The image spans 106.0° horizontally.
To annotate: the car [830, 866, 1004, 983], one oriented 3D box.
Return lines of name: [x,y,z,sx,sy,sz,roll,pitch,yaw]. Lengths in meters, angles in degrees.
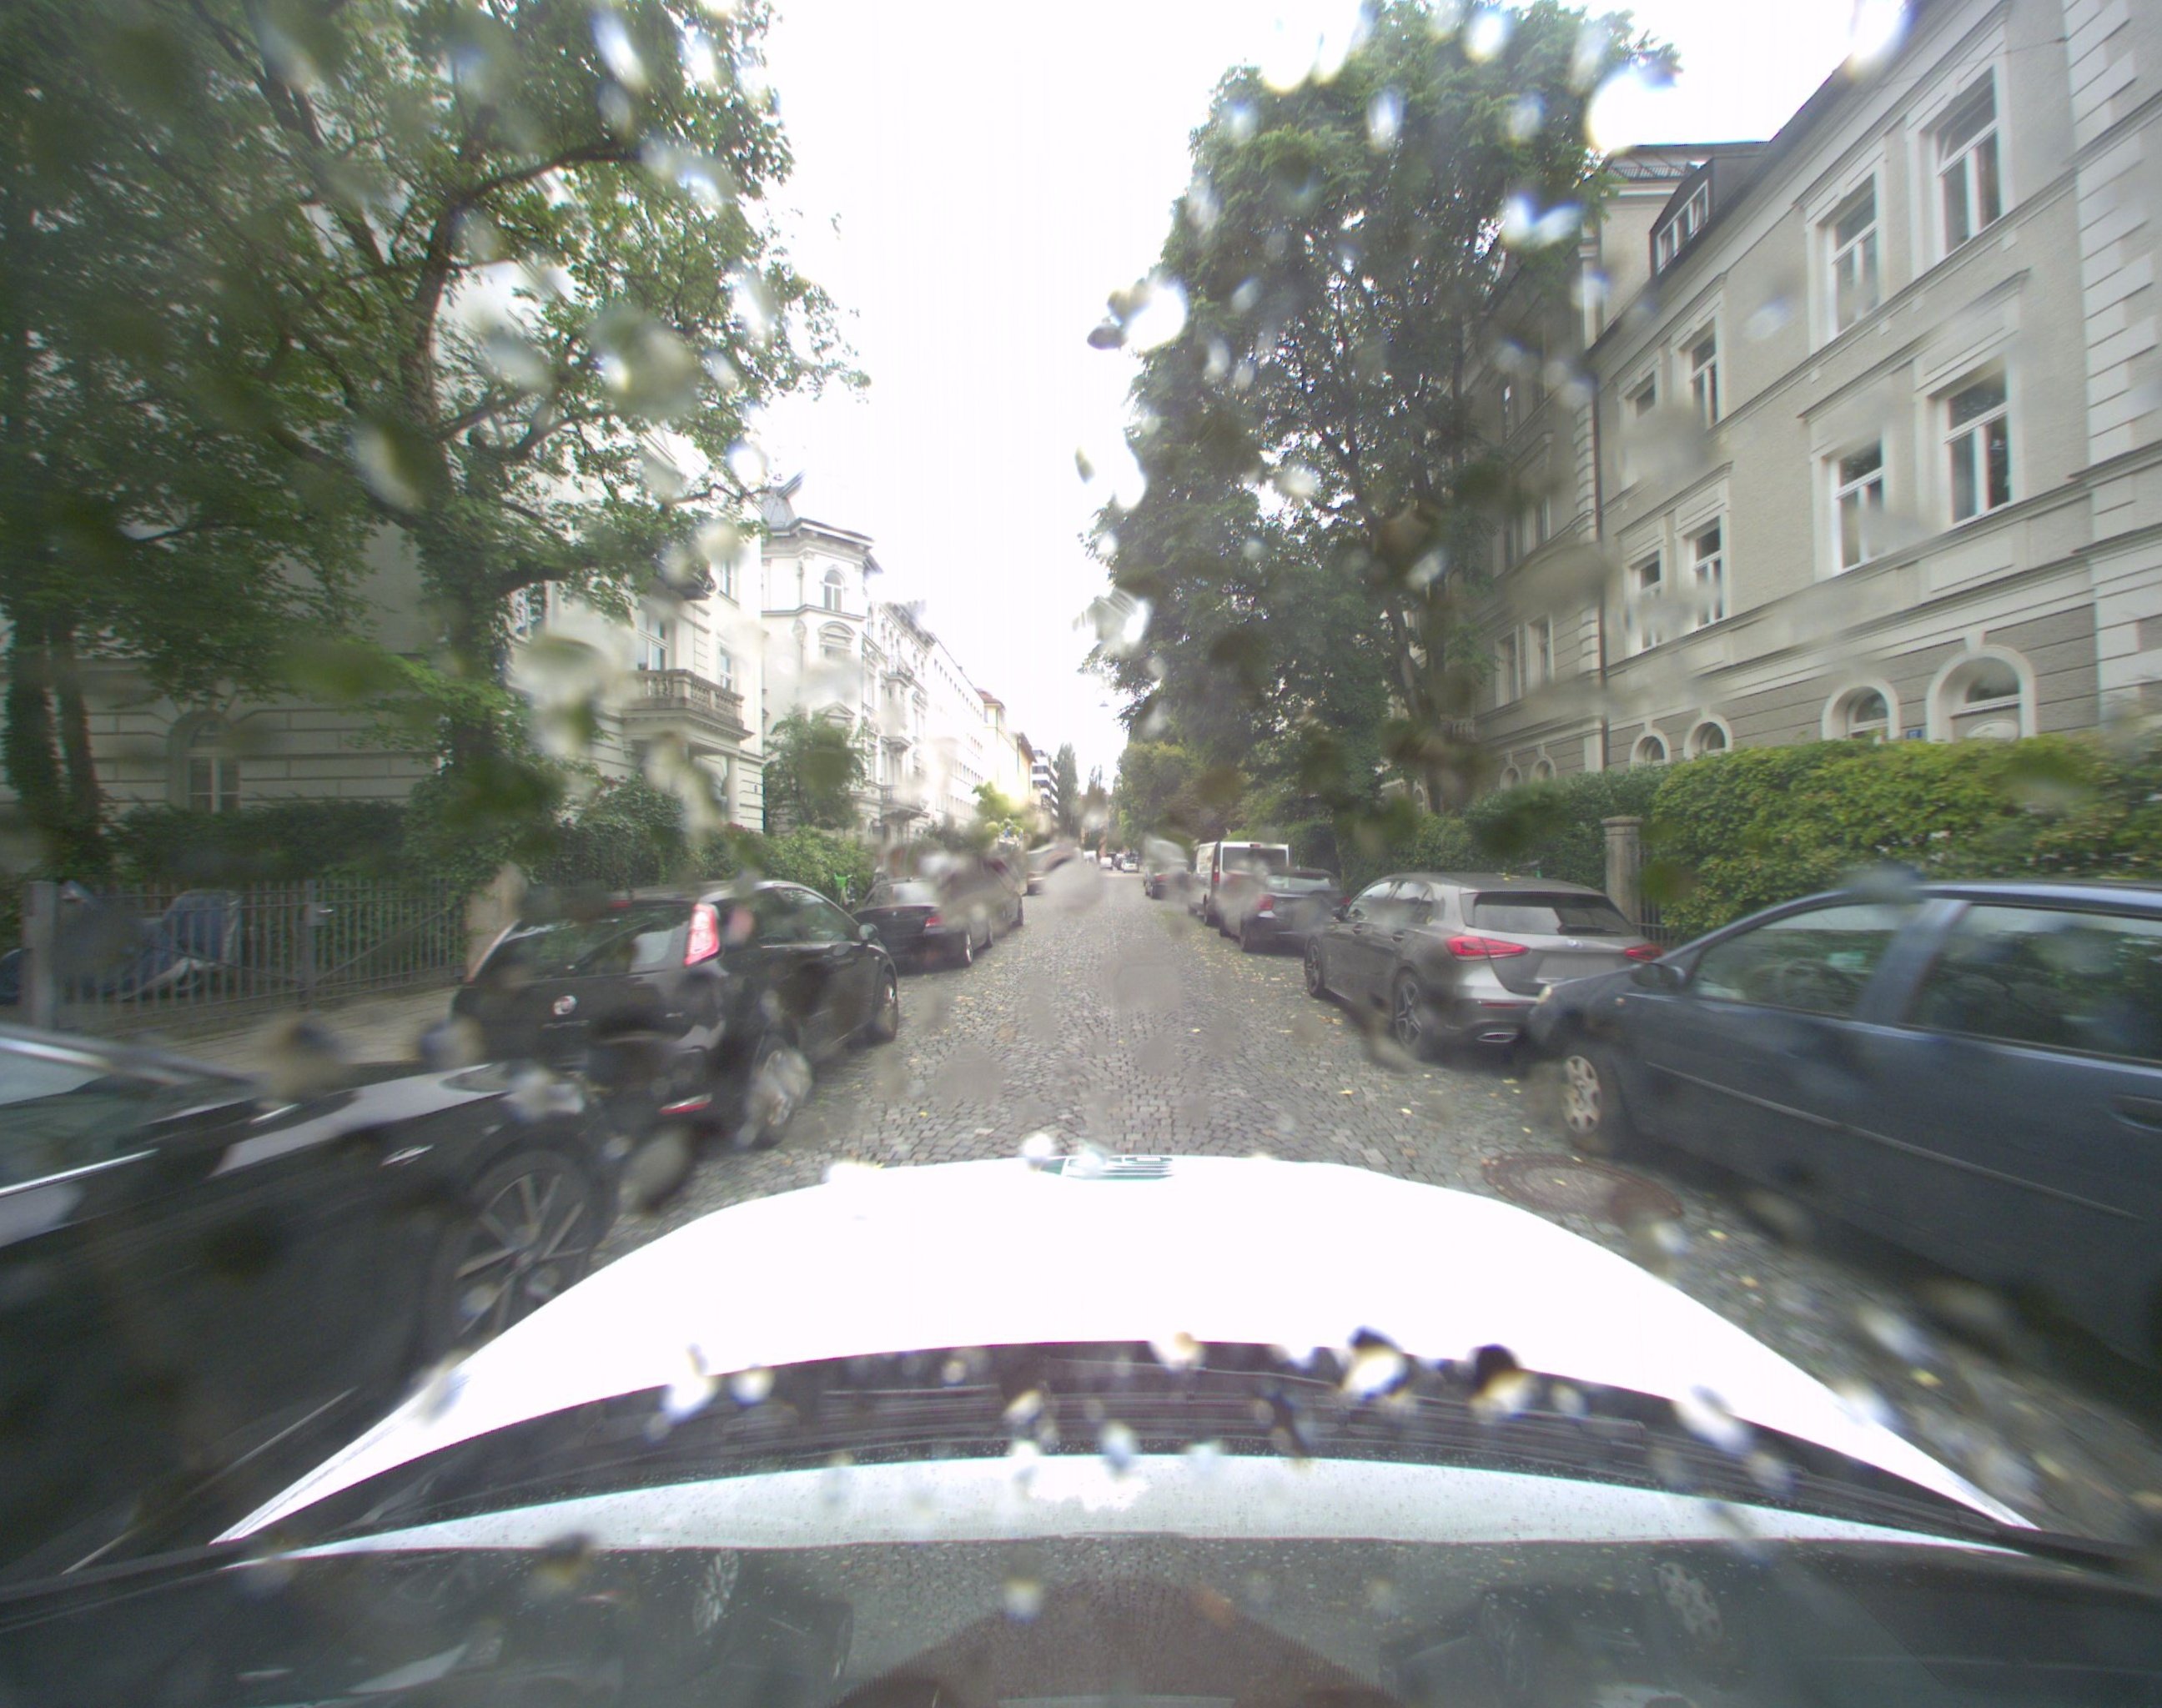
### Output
car: [-2.447,0.992,13.326,1.777,1.417,4.497,-4,0,1]

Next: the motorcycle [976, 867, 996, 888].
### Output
motorcycle: [-5.613,1.374,48.357,0.619,1.197,1.870,-1,-1,11]

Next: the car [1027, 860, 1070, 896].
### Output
car: [-1.568,1.134,40.361,1.867,1.580,4.254,-4,0,0]

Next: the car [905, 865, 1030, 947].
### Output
car: [-2.354,1.050,18.099,1.879,1.417,4.409,-4,0,2]

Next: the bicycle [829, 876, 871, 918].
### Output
bicycle: [-6.586,1.204,23.322,0.575,1.122,2.051,-1,0,0]

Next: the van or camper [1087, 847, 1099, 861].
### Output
van or camper: [2.303,0.045,157.580,2.247,2.742,5.100,0,-1,2]

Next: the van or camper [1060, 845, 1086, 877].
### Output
van or camper: [-0.663,0.666,73.004,1.986,2.652,4.002,-4,-1,2]

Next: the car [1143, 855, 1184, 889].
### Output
car: [4.401,0.940,44.209,1.866,1.733,4.594,2,0,2]

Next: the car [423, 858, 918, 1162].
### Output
car: [-2.466,0.795,6.164,1.657,1.444,4.169,-2,-1,-1]

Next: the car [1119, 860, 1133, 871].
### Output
car: [6.314,1.605,114.605,1.783,1.520,4.002,-1,-1,2]

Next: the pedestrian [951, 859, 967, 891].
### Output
pedestrian: [-6.488,1.127,43.339,0.715,1.687,0.695,-1,-1,1]

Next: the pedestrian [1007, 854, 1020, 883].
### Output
pedestrian: [-4.465,0.956,53.922,0.789,1.917,0.759,0,-1,1]

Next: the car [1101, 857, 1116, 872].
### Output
car: [3.952,1.518,116.236,1.986,2.014,4.002,-1,-1,2]

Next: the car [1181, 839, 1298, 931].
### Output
car: [3.748,0.693,20.205,1.867,1.928,5.162,1,0,0]

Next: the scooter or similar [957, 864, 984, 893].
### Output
scooter or similar: [-5.795,1.246,42.817,0.938,1.442,2.657,-1,0,2]

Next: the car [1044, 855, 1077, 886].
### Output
car: [-1.277,1.067,52.829,1.867,1.776,4.122,-5,-1,1]

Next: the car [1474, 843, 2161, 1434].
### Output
car: [3.447,0.724,3.211,1.690,1.440,4.057,1,0,-3]

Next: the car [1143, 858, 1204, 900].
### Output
car: [3.584,0.928,32.320,1.867,1.503,4.510,1,0,0]

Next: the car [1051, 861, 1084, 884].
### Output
car: [-0.903,1.278,58.039,1.864,1.580,4.213,1,-1,5]

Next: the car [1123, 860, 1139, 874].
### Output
car: [5.724,1.455,93.926,1.783,1.520,4.002,-1,-1,2]

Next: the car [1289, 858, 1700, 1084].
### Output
car: [3.320,0.804,7.600,1.707,1.472,4.269,1,0,1]

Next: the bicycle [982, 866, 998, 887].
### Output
bicycle: [-5.659,1.385,50.525,0.657,1.221,2.077,-1,-1,-17]

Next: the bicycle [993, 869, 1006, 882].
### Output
bicycle: [-5.734,1.524,57.148,0.500,0.839,2.092,-1,0,5]

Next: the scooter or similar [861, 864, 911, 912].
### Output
scooter or similar: [-6.184,1.054,26.004,0.938,1.442,2.656,0,0,0]

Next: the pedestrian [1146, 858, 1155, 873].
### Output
pedestrian: [9.506,1.528,111.266,0.858,2.014,0.986,-1,-1,-16]

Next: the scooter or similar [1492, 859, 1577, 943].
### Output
scooter or similar: [7.130,0.709,12.859,0.414,1.234,1.242,-4,0,-10]

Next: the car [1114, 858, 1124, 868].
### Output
car: [7.388,1.726,157.871,1.986,2.014,4.002,-1,-1,2]

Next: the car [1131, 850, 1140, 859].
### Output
car: [13.073,0.138,196.751,1.986,2.014,4.002,-1,-1,2]

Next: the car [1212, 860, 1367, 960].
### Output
car: [3.540,0.875,14.675,1.829,1.490,4.424,1,0,3]

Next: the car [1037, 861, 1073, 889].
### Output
car: [-1.408,1.155,46.391,1.867,1.451,4.207,-3,0,0]

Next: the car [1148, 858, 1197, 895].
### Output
car: [4.163,1.000,37.626,1.811,1.580,4.209,2,0,1]

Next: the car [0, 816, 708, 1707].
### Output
car: [-2.767,0.766,1.073,1.970,1.561,5.020,-3,-1,3]
